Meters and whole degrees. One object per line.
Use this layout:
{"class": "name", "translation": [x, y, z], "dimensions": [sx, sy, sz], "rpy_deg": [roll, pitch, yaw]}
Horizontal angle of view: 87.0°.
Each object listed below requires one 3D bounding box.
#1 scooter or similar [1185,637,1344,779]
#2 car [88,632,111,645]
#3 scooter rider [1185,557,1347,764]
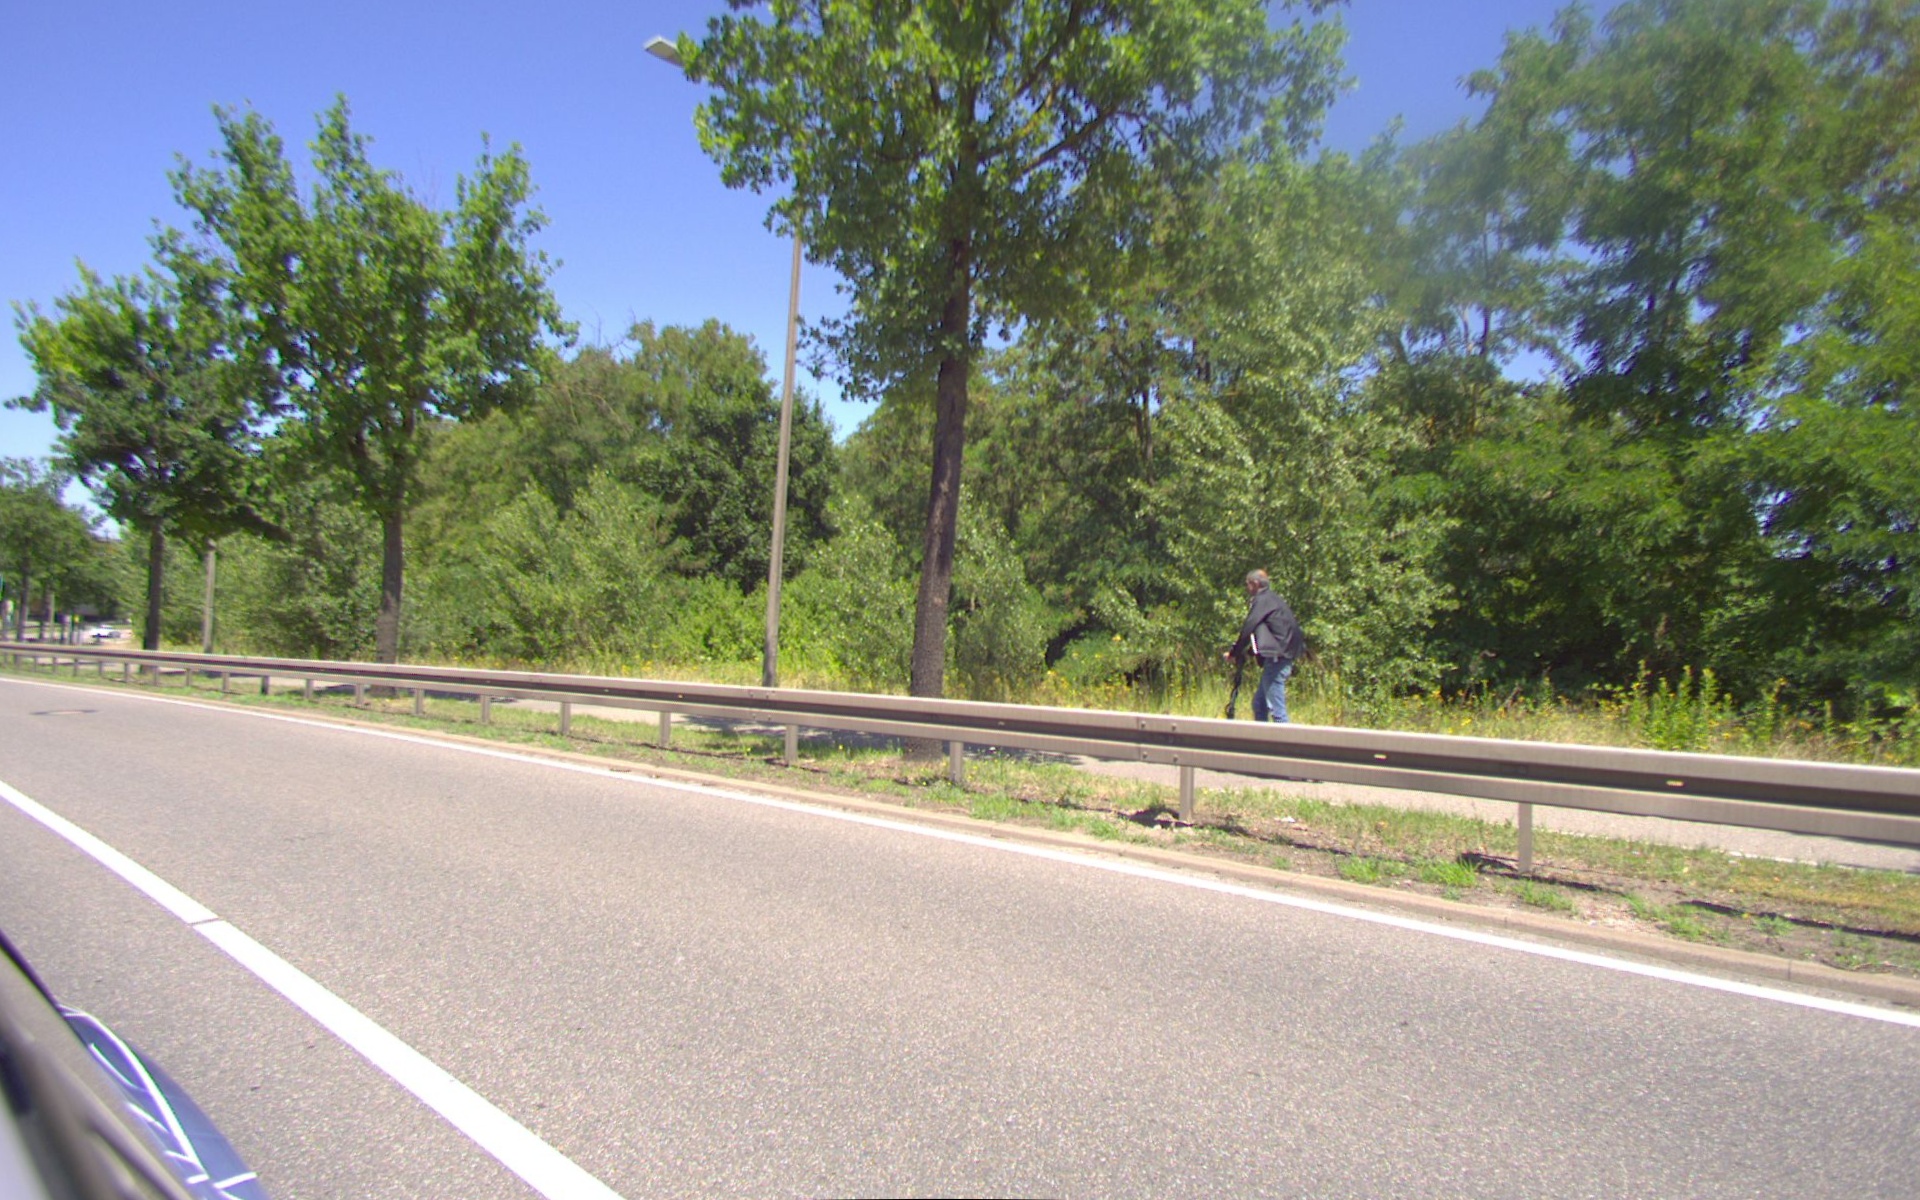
{"class": "scooter or similar", "translation": [2.646, 0.893, 8.823], "dimensions": [1.095, 1.099, 0.768], "rpy_deg": [-1, 0, 44]}
{"class": "car", "translation": [-100.587, 4.474, 118.322], "dimensions": [1.752, 1.454, 4.010], "rpy_deg": [0, 0, -36]}
{"class": "scooter rider", "translation": [2.658, 0.490, 8.837], "dimensions": [1.121, 1.670, 0.768], "rpy_deg": [-1, -1, 44]}
